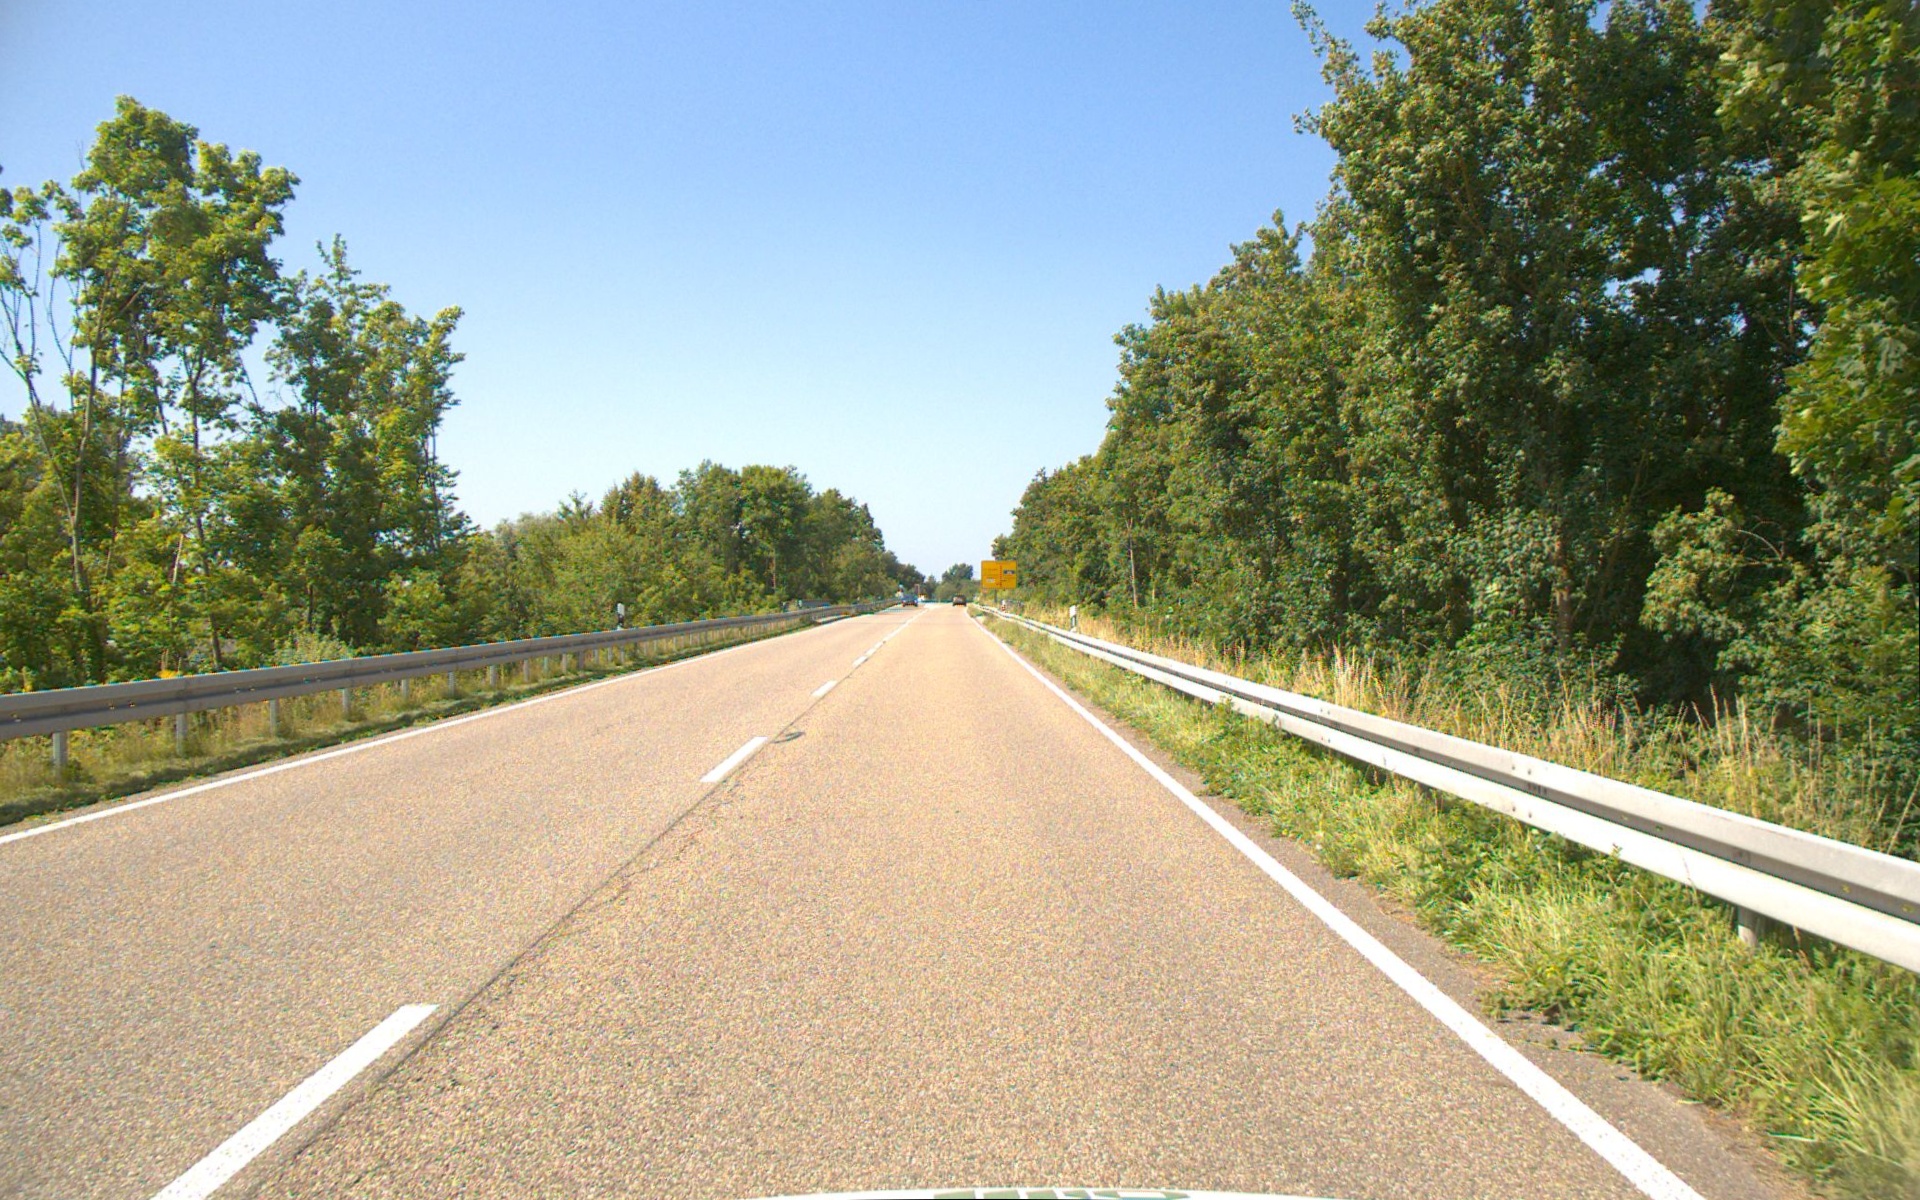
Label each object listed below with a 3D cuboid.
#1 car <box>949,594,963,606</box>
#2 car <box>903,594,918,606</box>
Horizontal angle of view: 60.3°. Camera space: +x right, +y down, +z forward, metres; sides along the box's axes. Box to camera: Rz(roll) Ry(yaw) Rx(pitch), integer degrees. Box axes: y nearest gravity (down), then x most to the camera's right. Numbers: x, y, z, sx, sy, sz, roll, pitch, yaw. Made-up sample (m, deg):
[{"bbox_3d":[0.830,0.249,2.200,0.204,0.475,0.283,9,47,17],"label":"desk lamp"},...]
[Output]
[{"bbox_3d":[-0.478,-0.007,213.776,1.705,1.496,3.692,0,0,0],"label":"car"},{"bbox_3d":[-5.987,0.013,200.865,1.710,1.450,4.677,0,0,0],"label":"car"}]
